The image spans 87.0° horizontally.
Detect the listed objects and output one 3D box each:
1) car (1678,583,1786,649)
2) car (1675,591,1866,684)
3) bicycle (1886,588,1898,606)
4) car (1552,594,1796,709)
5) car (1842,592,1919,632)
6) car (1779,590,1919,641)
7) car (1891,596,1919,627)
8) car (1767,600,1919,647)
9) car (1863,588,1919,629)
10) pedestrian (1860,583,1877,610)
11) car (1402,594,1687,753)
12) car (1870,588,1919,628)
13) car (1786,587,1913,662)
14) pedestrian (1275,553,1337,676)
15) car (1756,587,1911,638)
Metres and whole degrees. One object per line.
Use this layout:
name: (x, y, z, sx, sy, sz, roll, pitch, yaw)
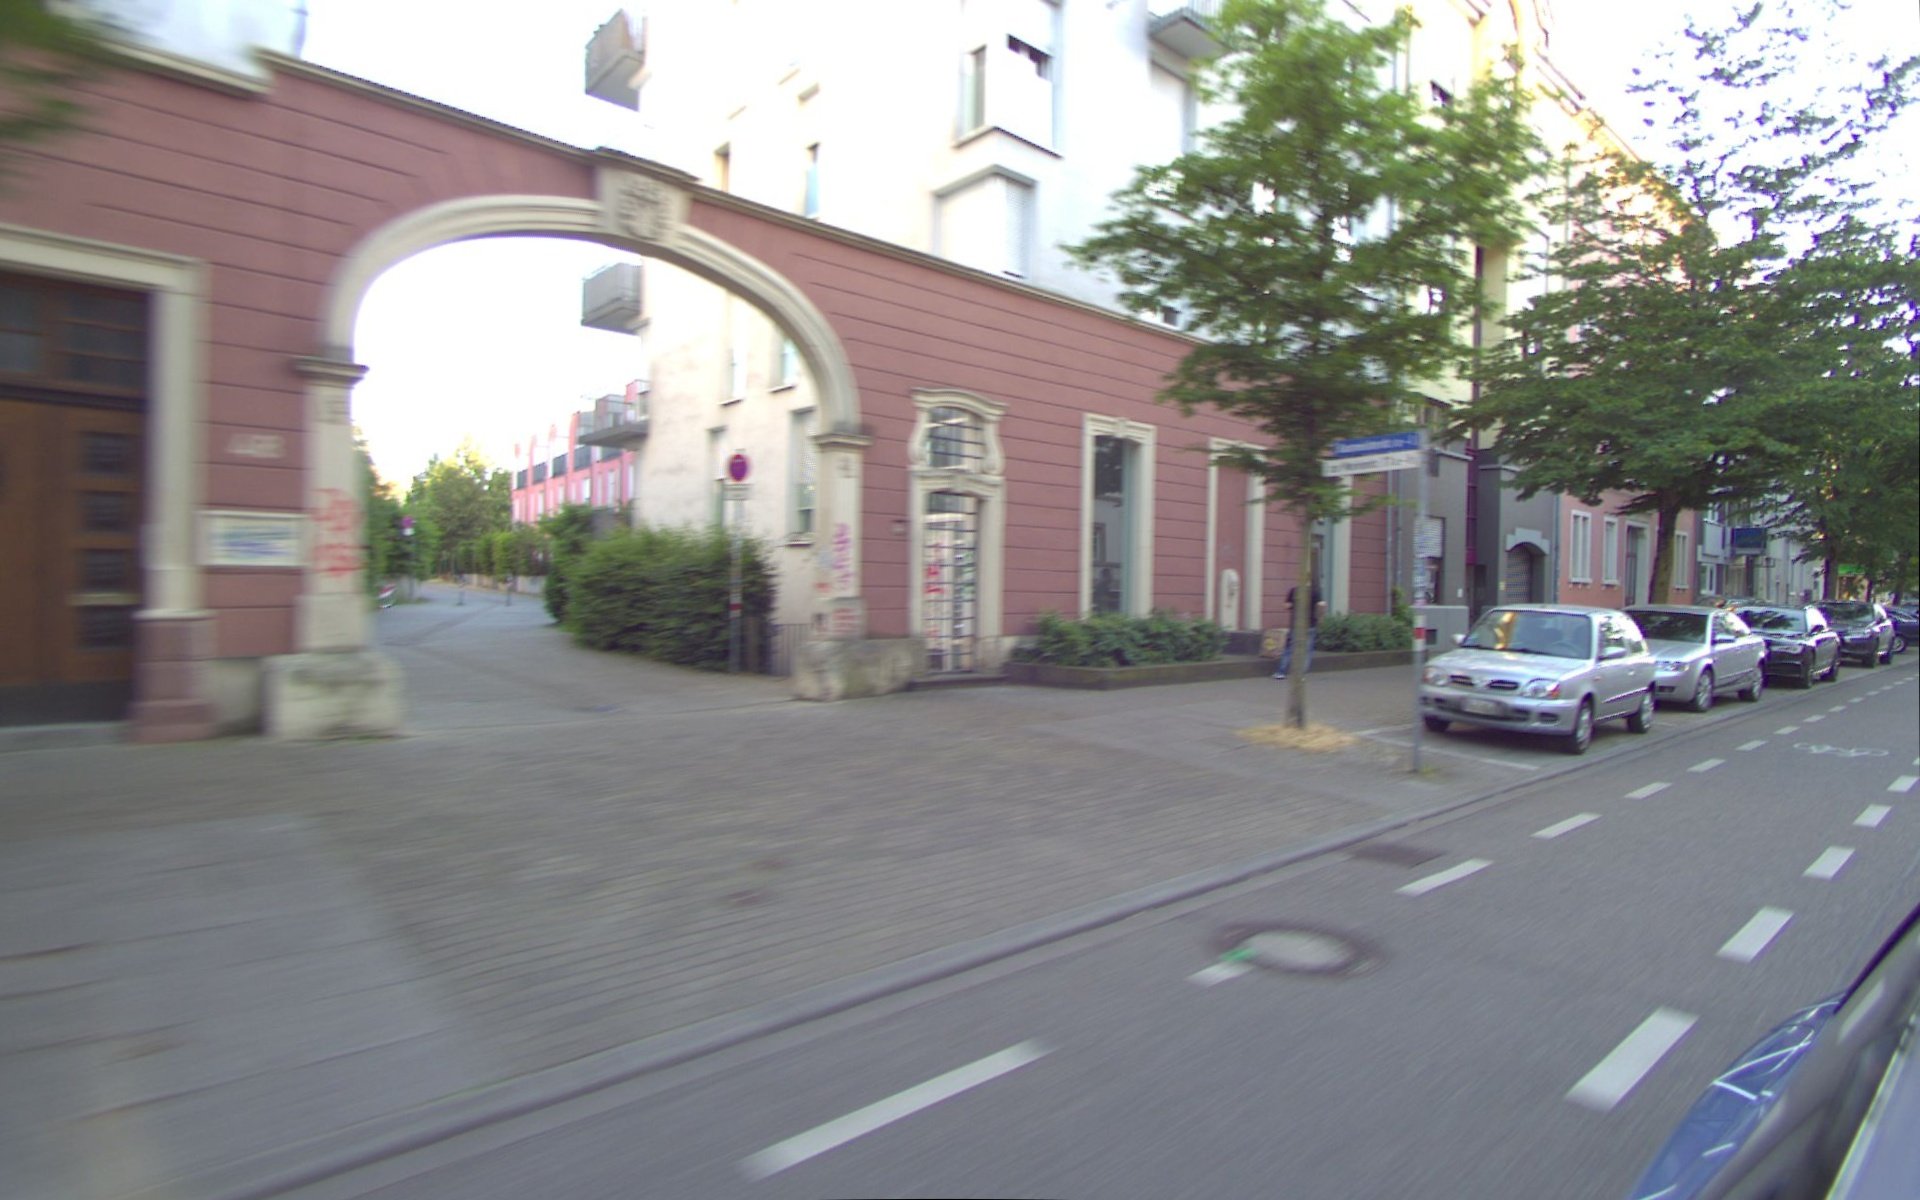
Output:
car: (21.029, 0.388, 27.499, 1.880, 1.604, 3.957, 2, 2, 44)
car: (15.716, 0.631, 19.521, 4.948, 1.507, 1.997, 0, 2, -41)
bicycle: (66.433, -0.210, 72.131, 1.558, 1.225, 0.470, 0, 0, -42)
car: (10.826, 0.659, 15.225, 4.606, 1.398, 1.785, 0, 3, -39)
car: (38.155, 0.516, 40.384, 4.379, 1.482, 1.692, 3, 2, 44)
car: (31.092, 0.522, 35.058, 3.944, 1.573, 1.700, 3, 1, 32)
car: (50.771, 0.620, 52.028, 3.966, 1.559, 1.761, 1, 1, 30)
car: (29.181, 0.746, 32.960, 4.216, 1.405, 1.608, 1, 1, 24)
car: (43.009, 0.415, 44.745, 4.152, 1.717, 1.830, 3, 1, 27)
pedestrian: (62.900, -0.231, 70.068, 0.600, 1.855, 0.561, 4, 0, -4)
car: (6.595, 0.683, 11.278, 3.711, 1.398, 1.622, 0, 3, -42)
car: (46.563, 0.420, 48.485, 3.964, 1.838, 1.806, 3, 2, 28)
car: (22.601, 0.562, 25.663, 4.189, 1.637, 1.883, 0, 4, -42)
pedestrian: (5.297, 0.206, 15.502, 0.589, 1.839, 0.682, 0, 1, -41)
car: (31.955, 0.441, 37.182, 3.964, 1.613, 1.703, 3, 1, 28)
